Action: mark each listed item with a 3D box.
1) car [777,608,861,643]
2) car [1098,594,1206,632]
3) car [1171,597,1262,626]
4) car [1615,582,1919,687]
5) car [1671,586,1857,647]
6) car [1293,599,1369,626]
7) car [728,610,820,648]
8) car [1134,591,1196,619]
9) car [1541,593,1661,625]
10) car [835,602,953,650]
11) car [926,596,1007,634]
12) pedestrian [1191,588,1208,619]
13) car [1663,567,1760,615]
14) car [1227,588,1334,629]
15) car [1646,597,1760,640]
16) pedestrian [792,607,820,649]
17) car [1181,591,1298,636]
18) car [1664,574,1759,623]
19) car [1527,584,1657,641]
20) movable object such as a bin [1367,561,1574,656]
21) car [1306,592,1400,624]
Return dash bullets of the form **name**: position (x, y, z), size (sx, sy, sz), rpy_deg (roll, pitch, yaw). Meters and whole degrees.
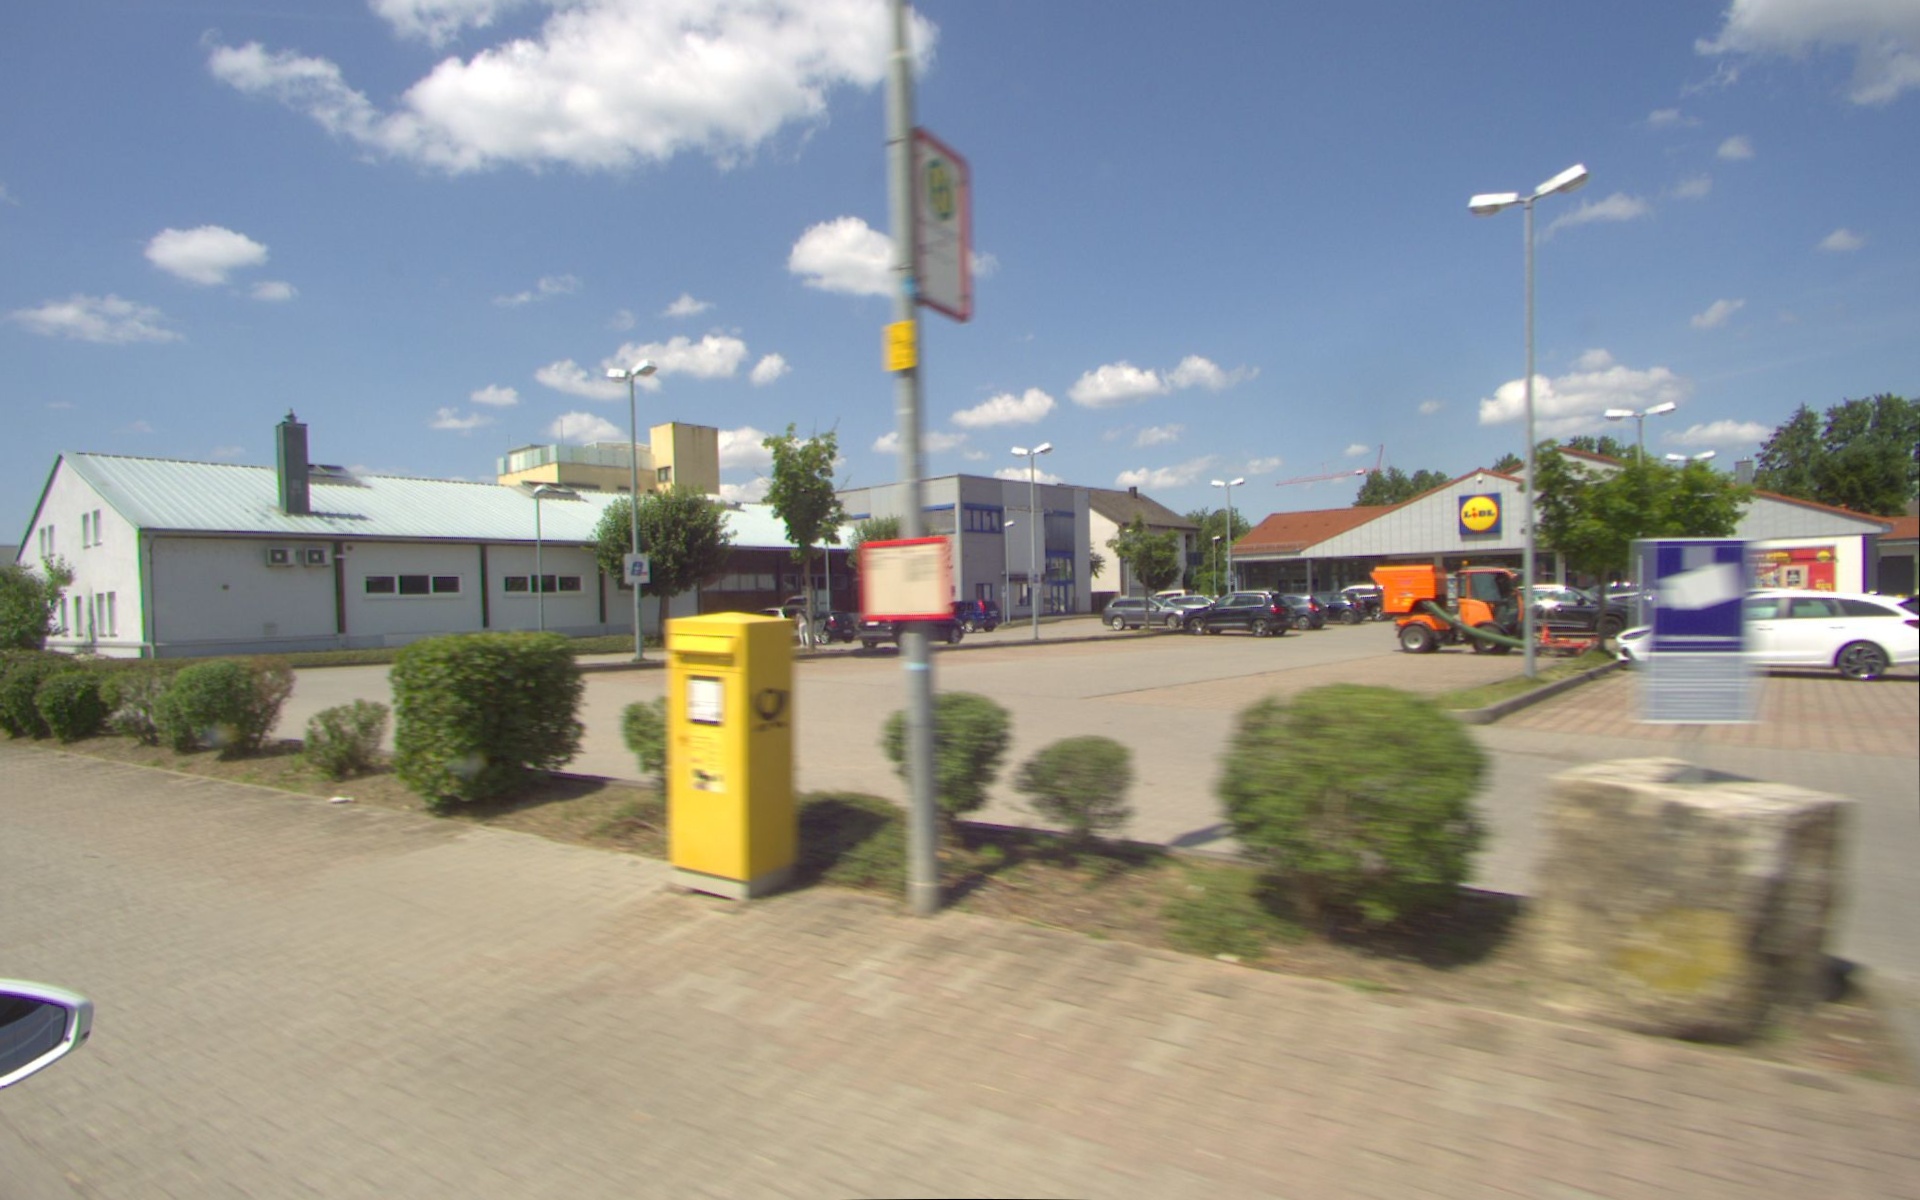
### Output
- **car**: position (-6.249, 1.127, 44.203), size (3.701, 1.443, 1.580), rpy_deg (-2, -1, 40)
- **car**: position (8.618, 0.595, 45.079), size (4.559, 1.614, 1.574), rpy_deg (-1, 0, 37)
- **car**: position (12.340, 0.541, 48.209), size (3.943, 1.326, 1.576), rpy_deg (-1, 0, 33)
- **car**: position (14.554, 0.549, 18.084), size (4.384, 1.684, 1.985), rpy_deg (0, 0, 39)
- **car**: position (22.308, 0.462, 27.995), size (3.948, 1.595, 1.575), rpy_deg (-1, 0, 36)
- **car**: position (16.677, 0.556, 45.010), size (2.951, 1.139, 1.577), rpy_deg (-1, 0, 33)
- **car**: position (-7.883, 1.203, 42.295), size (3.856, 1.518, 1.878), rpy_deg (-1, 0, 42)
- **car**: position (14.674, 0.392, 71.691), size (3.930, 1.790, 1.809), rpy_deg (-3, -2, 35)
- **car**: position (25.403, 0.353, 39.749), size (1.597, 1.189, 3.753), rpy_deg (-3, 2, -43)
- **car**: position (-2.186, 0.841, 34.063), size (1.973, 1.514, 3.975), rpy_deg (-1, 0, 35)
- **car**: position (0.320, 0.785, 52.571), size (3.942, 1.730, 1.879), rpy_deg (-4, -1, 40)
- **pedestrian**: position (16.642, 0.213, 69.617), size (0.900, 2.134, 0.866), rpy_deg (-1, 1, 34)
- **car**: position (26.088, -0.299, 34.832), size (2.636, 1.588, 1.218), rpy_deg (-1, 1, 35)
- **car**: position (13.263, 0.365, 41.567), size (3.947, 1.614, 1.575), rpy_deg (-1, 0, 35)
- **car**: position (24.091, 0.598, 32.560), size (2.764, 1.326, 1.492), rpy_deg (-1, 0, 28)
- **pedestrian**: position (-6.253, 1.145, 40.535), size (0.724, 1.659, 0.774), rpy_deg (-3, 0, -44)
- **car**: position (10.515, 0.520, 37.737), size (3.943, 1.652, 1.576), rpy_deg (-1, 0, 33)
- **car**: position (27.977, -0.030, 37.298), size (2.677, 1.710, 1.286), rpy_deg (-2, 1, 44)
- **car**: position (20.253, 0.408, 32.155), size (3.304, 1.633, 1.498), rpy_deg (-4, -1, 41)
- **movable object such as a bin**: position (13.016, 0.192, 25.725), size (1.669, 2.234, 4.475), rpy_deg (-3, 2, -45)
- **car**: position (18.567, 0.378, 47.335), size (3.943, 1.429, 1.576), rpy_deg (-1, 0, 33)
